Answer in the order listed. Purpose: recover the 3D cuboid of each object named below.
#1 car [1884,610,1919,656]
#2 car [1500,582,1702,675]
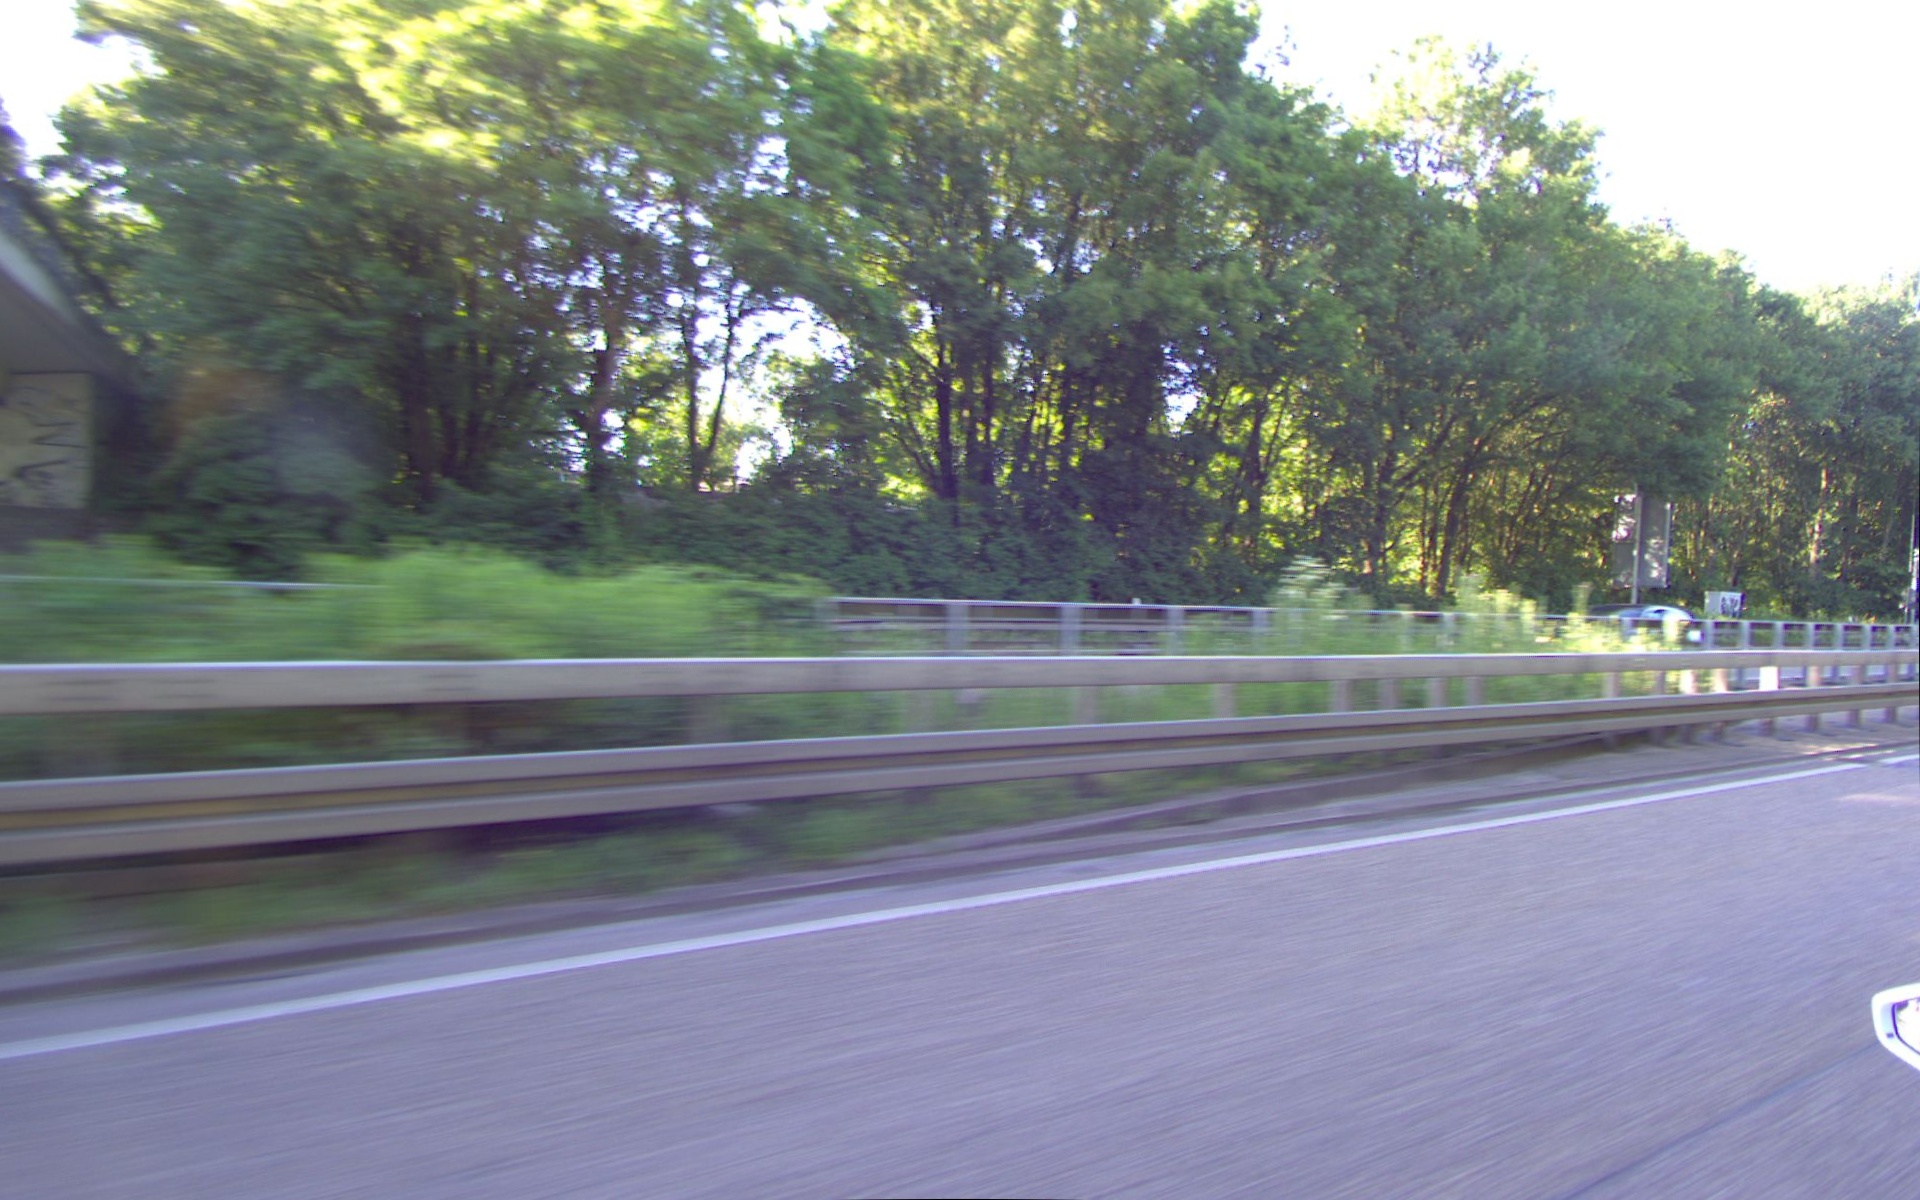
[{"bbox_3d":[39.556,1.372,40.652,4.322,1.773,1.984,2,0,-31],"label":"car"},{"bbox_3d":[13.412,0.573,20.980,4.062,1.739,1.887,1,1,-31],"label":"car"}]
